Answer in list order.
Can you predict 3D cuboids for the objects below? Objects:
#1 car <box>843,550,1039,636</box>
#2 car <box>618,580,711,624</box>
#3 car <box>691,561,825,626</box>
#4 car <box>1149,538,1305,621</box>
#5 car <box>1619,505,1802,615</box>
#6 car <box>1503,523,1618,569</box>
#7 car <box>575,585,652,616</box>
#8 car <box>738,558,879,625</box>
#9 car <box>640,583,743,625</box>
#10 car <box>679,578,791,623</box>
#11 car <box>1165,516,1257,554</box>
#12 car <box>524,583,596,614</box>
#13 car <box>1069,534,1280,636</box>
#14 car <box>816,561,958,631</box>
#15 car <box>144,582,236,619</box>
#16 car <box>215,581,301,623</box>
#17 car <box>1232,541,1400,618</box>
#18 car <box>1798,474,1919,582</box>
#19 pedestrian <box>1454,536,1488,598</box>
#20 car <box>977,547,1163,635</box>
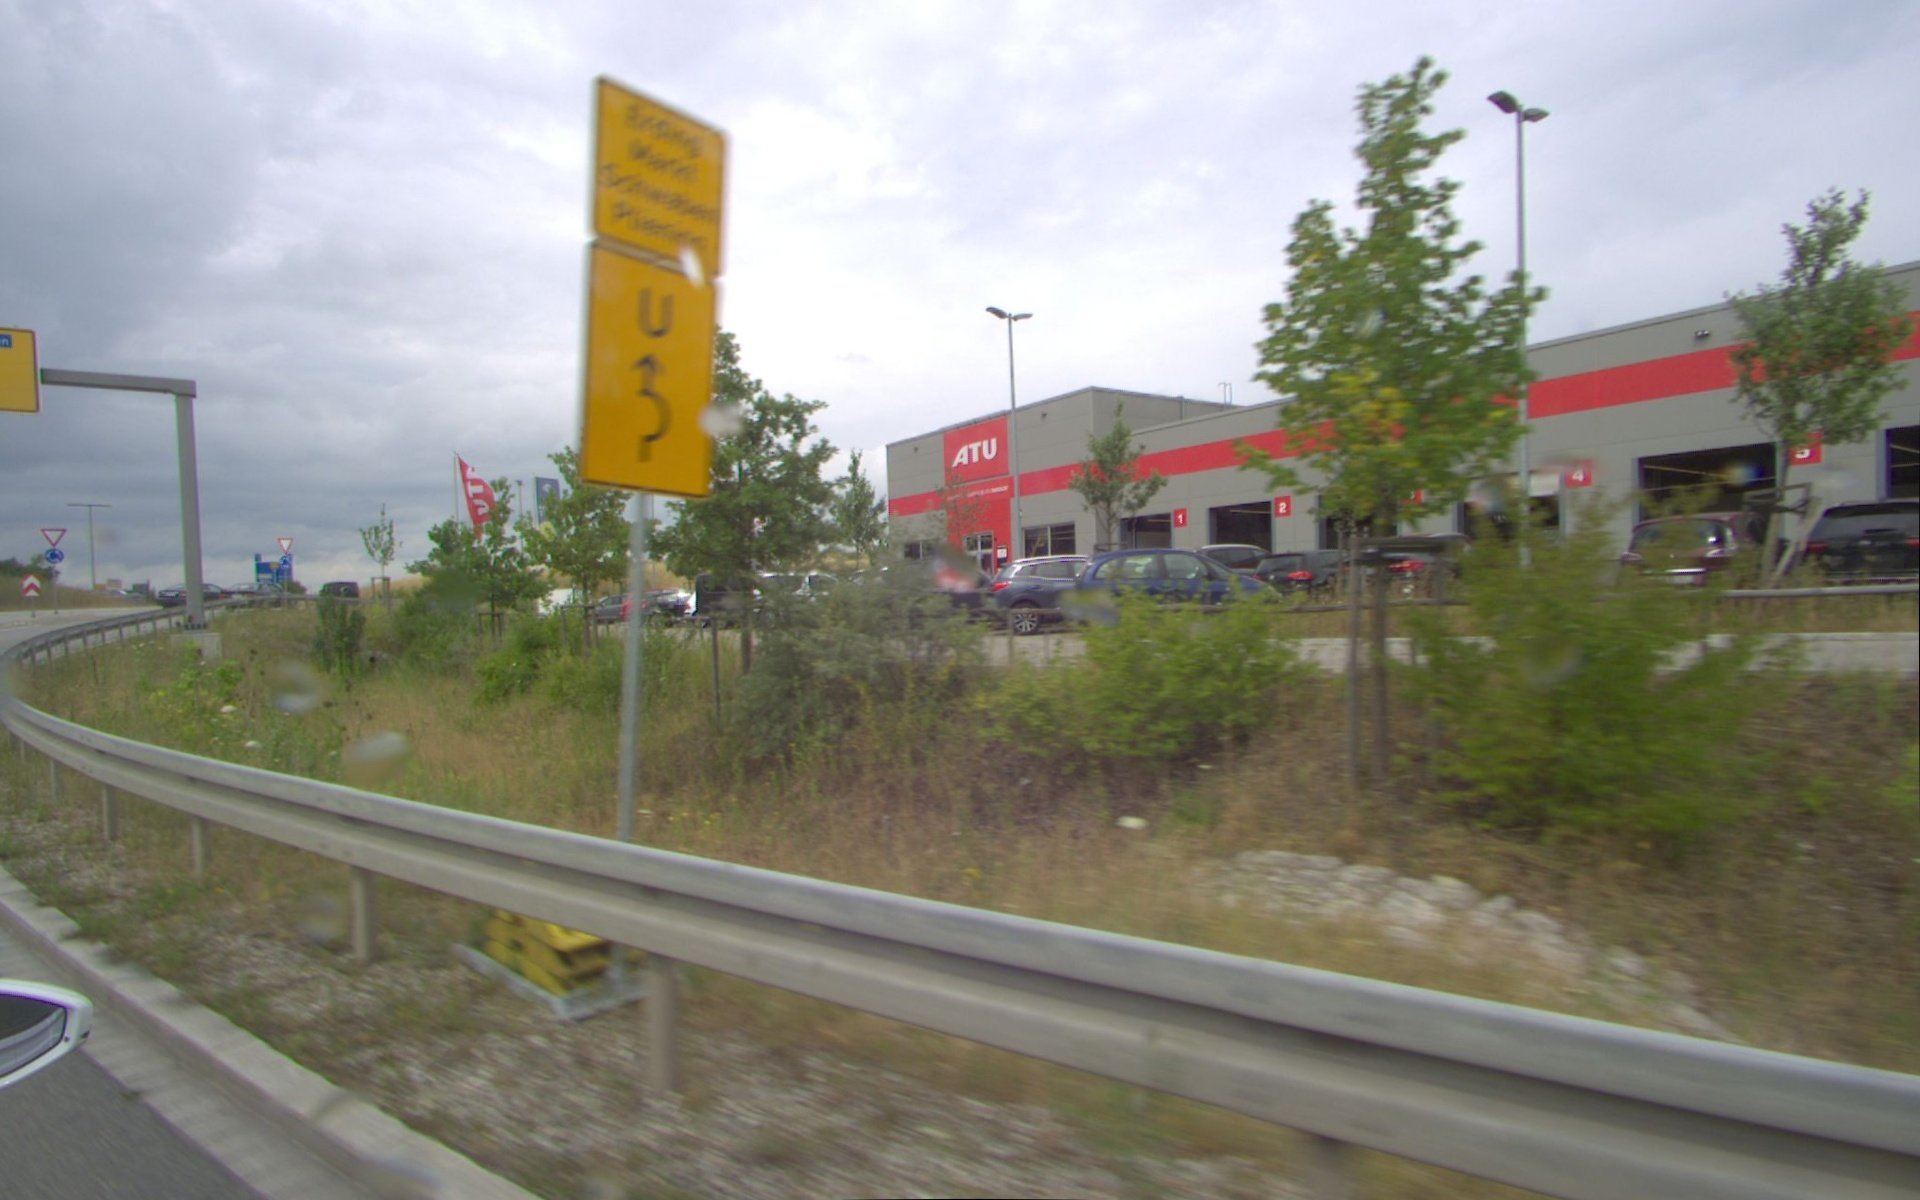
[{"bbox_3d":[-0.399,-0.184,24.081,4.462,1.757,1.831,-3,2,2],"label":"car"},{"bbox_3d":[-12.479,0.064,42.395,3.395,1.646,1.549,-3,2,4],"label":"car"},{"bbox_3d":[-6.931,-0.232,34.612,4.049,1.977,1.880,-3,1,6],"label":"car"},{"bbox_3d":[6.641,-0.527,24.786,3.812,1.844,1.708,-3,1,-37],"label":"car"},{"bbox_3d":[12.230,-0.564,16.236,3.843,1.558,1.662,0,-1,-42],"label":"car"},{"bbox_3d":[19.228,-1.689,32.013,3.860,1.241,1.651,0,-1,-33],"label":"car"},{"bbox_3d":[-18.485,0.031,53.457,3.626,1.502,1.494,-2,0,-35],"label":"car"},{"bbox_3d":[-4.786,-0.287,32.041,4.111,1.867,1.831,-3,2,1],"label":"car"},{"bbox_3d":[-10.633,0.148,39.777,3.567,1.439,1.613,-3,2,4],"label":"car"},{"bbox_3d":[-8.350,0.002,37.271,3.688,1.461,1.592,-3,2,5],"label":"car"},{"bbox_3d":[11.026,-2.831,43.928,3.860,1.536,1.784,-1,3,-33],"label":"car"},{"bbox_3d":[-22.175,-0.082,55.543,3.522,1.648,1.641,-1,2,22],"label":"car"},{"bbox_3d":[3.958,-0.274,18.985,3.693,1.660,1.667,-3,1,6],"label":"car"},{"bbox_3d":[-1.954,-0.130,27.058,3.636,1.652,1.648,-3,2,-4],"label":"car"},{"bbox_3d":[-40.062,-0.023,52.239,1.866,1.807,4.154,-1,1,-7],"label":"car"},{"bbox_3d":[-32.926,0.050,47.077,1.627,1.863,3.953,-1,1,-8],"label":"car"},{"bbox_3d":[8.064,-0.478,22.536,3.847,1.554,1.708,-3,1,-37],"label":"car"},{"bbox_3d":[13.492,-0.952,14.167,3.400,1.352,1.633,-1,0,-34],"label":"car"},{"bbox_3d":[14.795,-0.957,28.996,0.625,1.765,0.592,-1,0,-13],"label":"pedestrian"},{"bbox_3d":[2.322,-0.197,21.433,3.735,1.629,1.757,-3,2,5],"label":"car"}]
